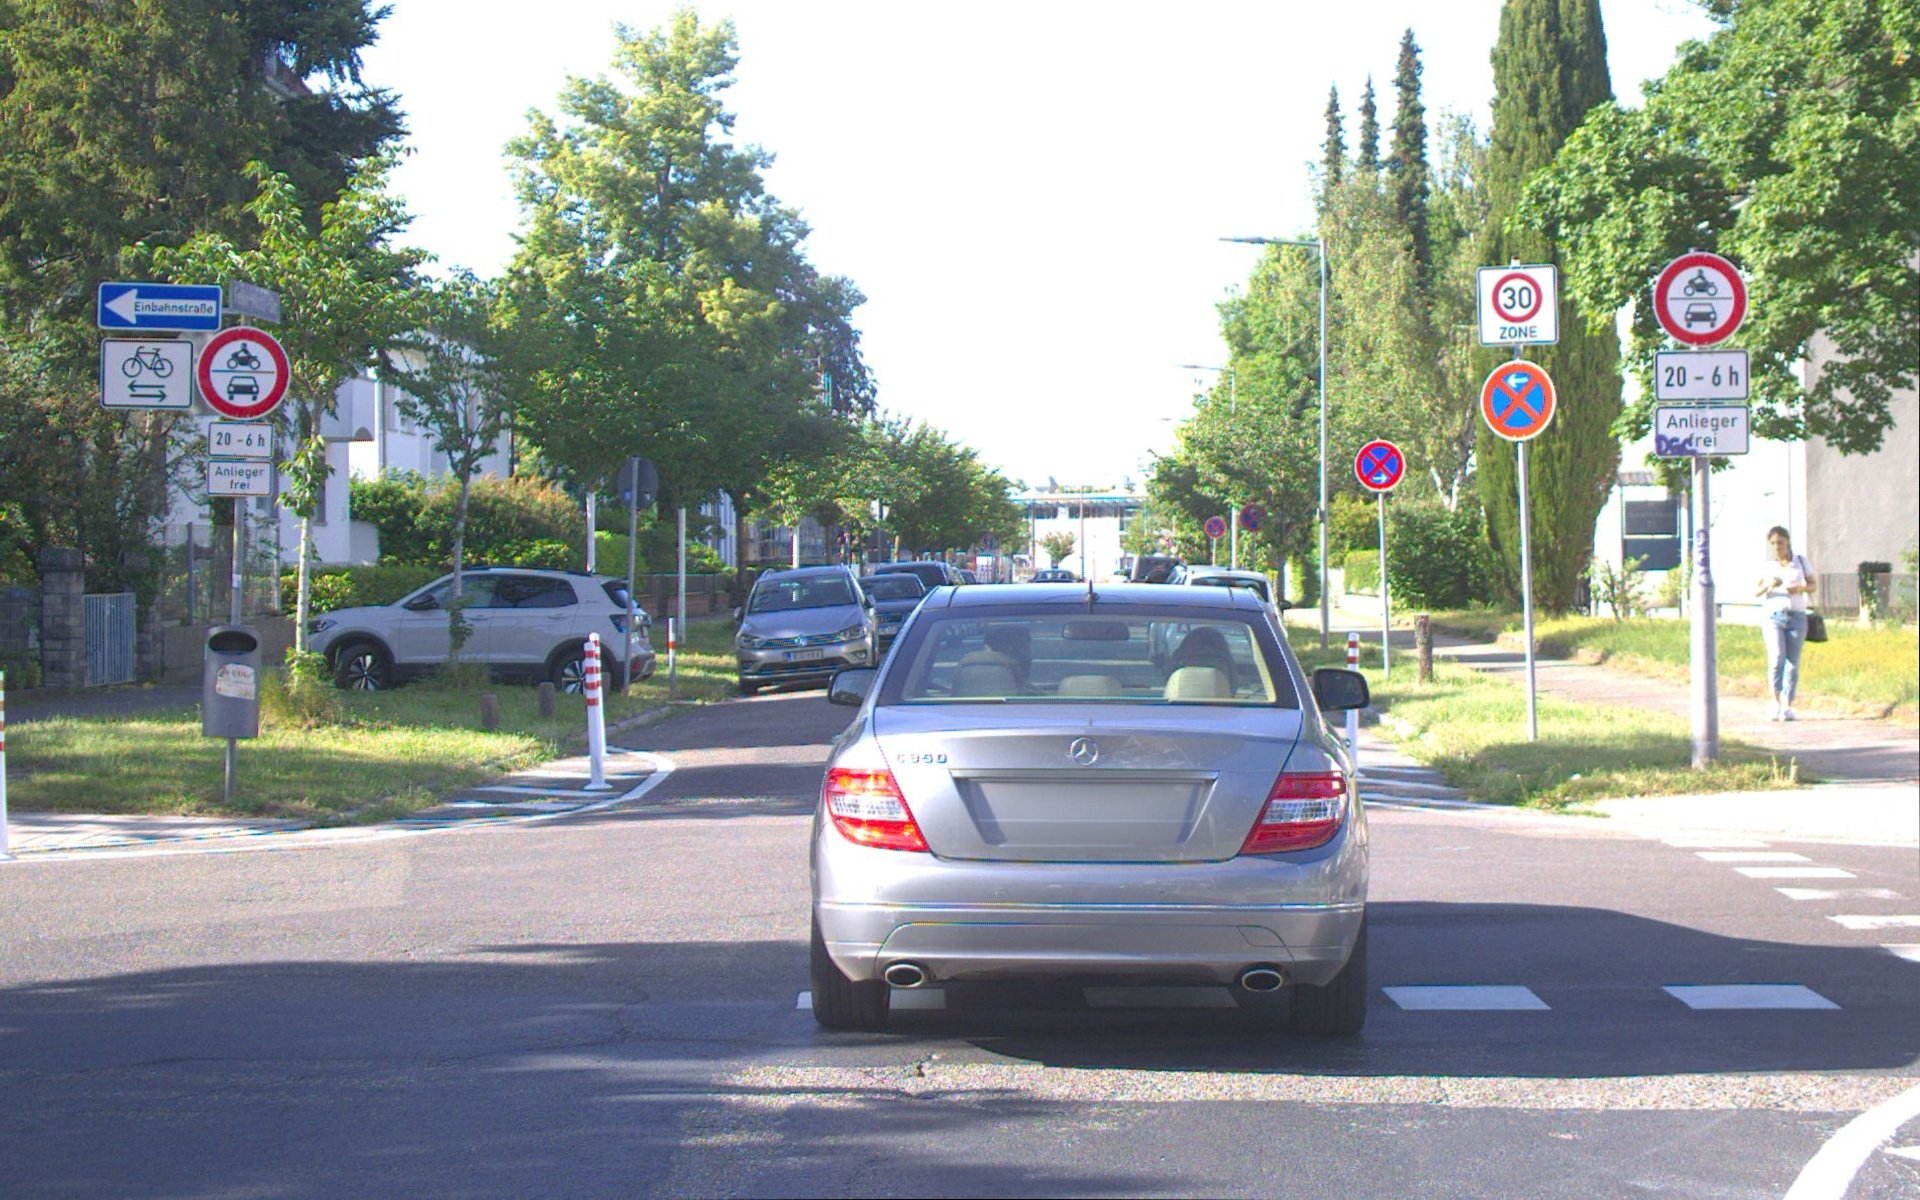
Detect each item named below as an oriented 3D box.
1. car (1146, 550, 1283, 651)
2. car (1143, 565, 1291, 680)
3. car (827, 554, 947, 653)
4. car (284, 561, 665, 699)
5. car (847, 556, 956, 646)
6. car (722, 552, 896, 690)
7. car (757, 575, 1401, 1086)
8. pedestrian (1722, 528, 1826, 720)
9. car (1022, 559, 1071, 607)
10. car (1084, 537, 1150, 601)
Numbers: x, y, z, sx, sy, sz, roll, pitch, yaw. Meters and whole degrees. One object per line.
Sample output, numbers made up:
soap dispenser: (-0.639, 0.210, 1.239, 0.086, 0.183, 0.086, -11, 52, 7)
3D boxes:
car: (4.244, -0.022, 57.860, 1.993, 1.604, 4.000, -1, 1, 0)
car: (3.487, 0.275, 47.157, 1.733, 1.475, 3.725, -1, 1, 0)
car: (-1.299, 0.036, 62.869, 1.993, 1.604, 4.000, -4, 1, 0)
car: (-5.605, 0.333, 40.069, 4.192, 1.558, 1.842, 0, 1, -1)
car: (-1.145, -0.009, 68.661, 1.993, 1.604, 4.000, -4, 1, 0)
car: (-1.931, 0.233, 45.071, 1.993, 1.604, 4.000, -4, 1, 0)
car: (0.449, 0.641, 11.840, 1.836, 1.436, 4.000, 0, 1, 3)
pedestrian: (6.949, 0.198, 29.384, 0.766, 1.605, 0.834, -1, 1, 7)
car: (2.979, -0.614, 119.052, 1.597, 1.604, 3.644, -1, 1, 0)
car: (4.673, -0.940, 102.739, 1.855, 1.835, 4.000, -1, 1, 2)
